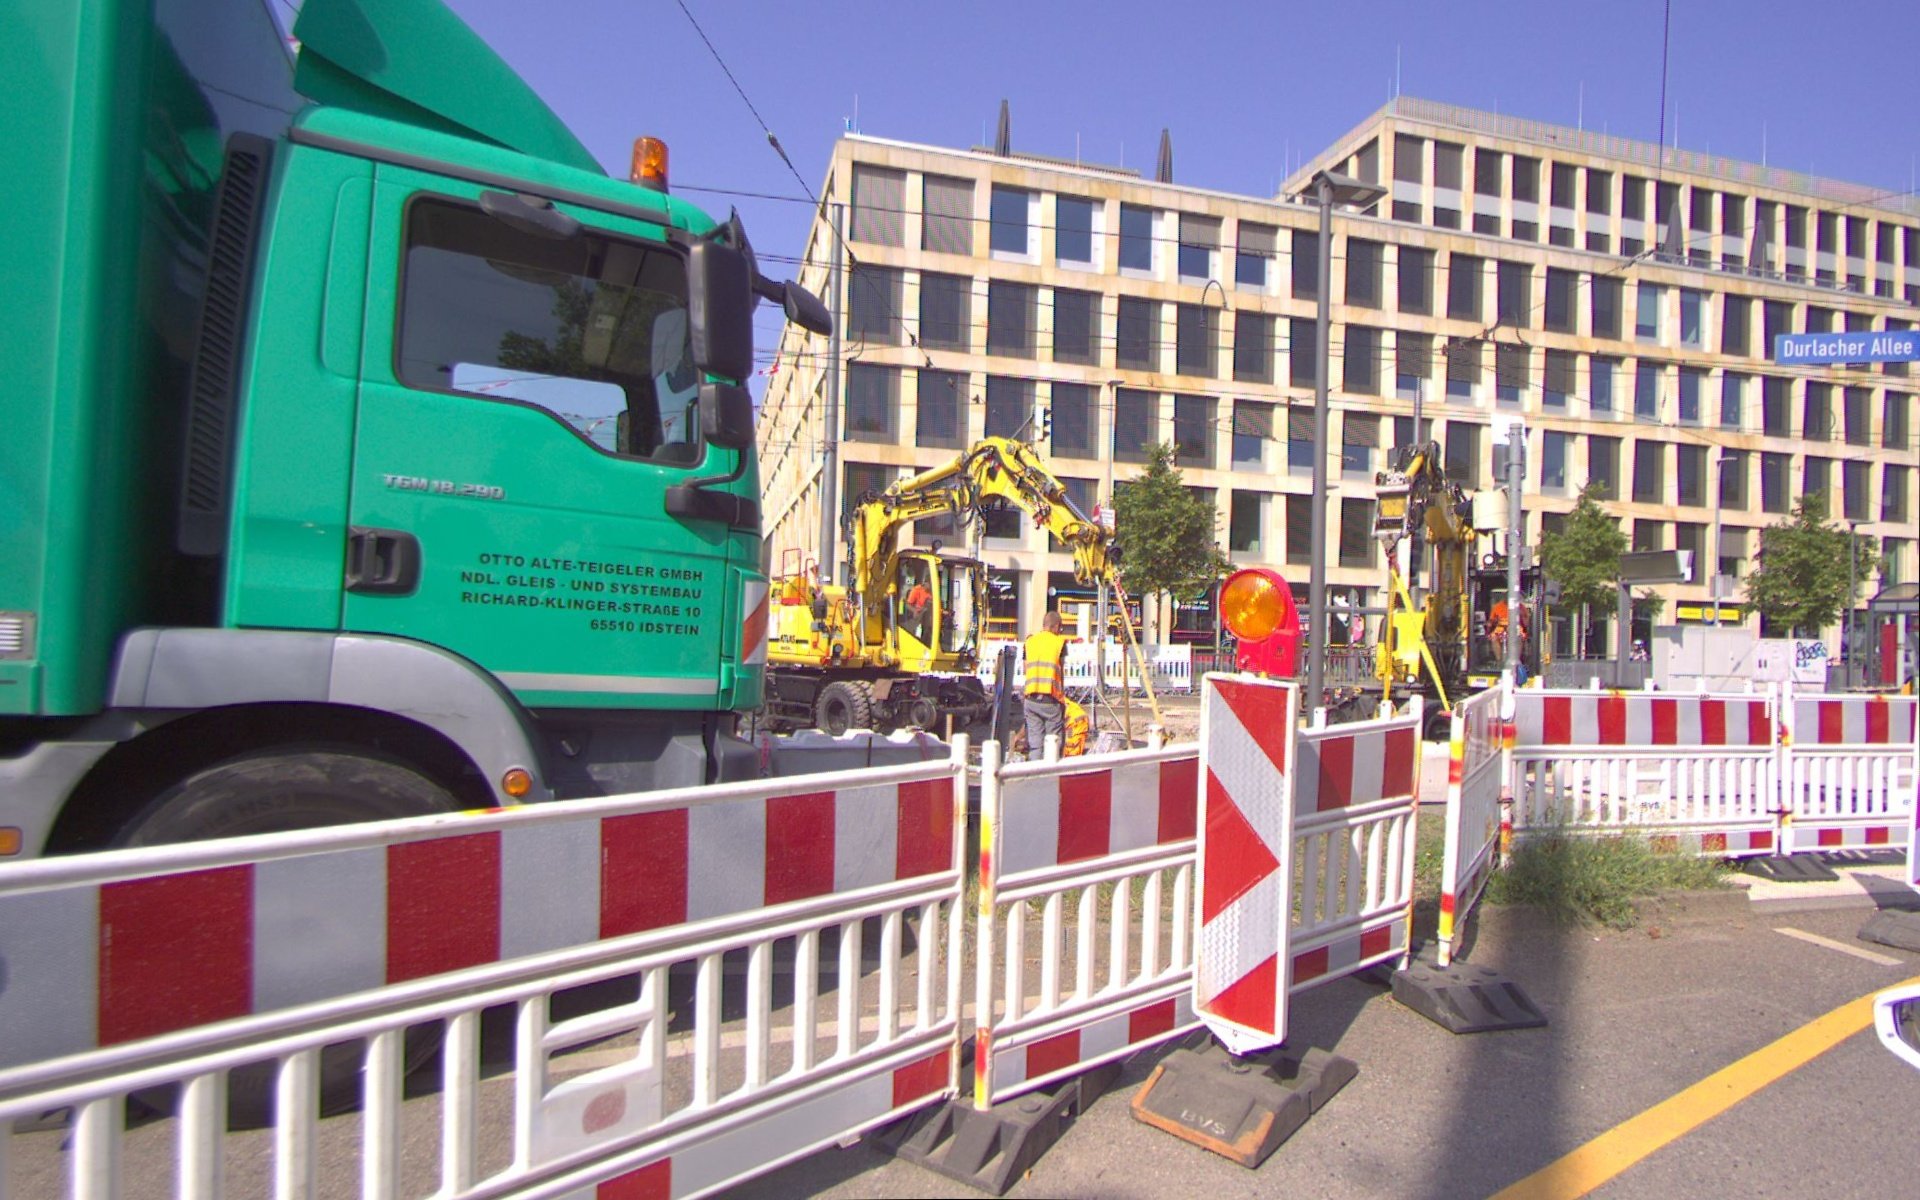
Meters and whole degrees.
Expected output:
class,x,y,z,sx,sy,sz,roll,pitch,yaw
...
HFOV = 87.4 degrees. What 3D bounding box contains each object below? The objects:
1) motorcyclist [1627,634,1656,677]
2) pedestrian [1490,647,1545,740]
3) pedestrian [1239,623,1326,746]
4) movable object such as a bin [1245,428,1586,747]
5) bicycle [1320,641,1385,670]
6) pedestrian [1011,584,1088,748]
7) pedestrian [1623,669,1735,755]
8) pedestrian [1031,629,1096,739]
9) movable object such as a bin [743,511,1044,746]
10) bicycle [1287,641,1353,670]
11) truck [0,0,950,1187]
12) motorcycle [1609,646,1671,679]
class,x,y,z,sx,sy,sz,roll,pitch,yaw
motorcyclist,19.345,1.573,28.521,0.507,1.194,0.430,3,-4,-11
pedestrian,7.342,1.210,13.242,0.577,1.170,0.702,0,-1,25
pedestrian,3.697,0.952,11.574,0.820,1.353,0.703,1,-1,6
movable object such as a bin,7.308,-0.111,16.474,4.139,4.614,2.990,1,-1,-13
bicycle,14.349,2.033,36.774,0.930,0.980,2.430,1,-2,-16
pedestrian,0.872,0.618,9.663,0.689,1.498,0.743,1,-1,7
pedestrian,8.597,1.323,12.031,0.867,0.967,0.701,1,-1,-14
pedestrian,1.177,0.933,11.413,0.688,1.193,0.703,1,-1,6
movable object such as a bin,-1.231,0.475,16.606,3.526,3.265,4.093,2,-2,-30
bicycle,13.002,1.993,36.342,1.004,0.980,2.430,1,-2,-16
truck,-4.646,-0.597,2.733,8.892,3.838,2.800,2,-2,-25
motorcycle,19.323,1.782,28.537,1.605,0.889,0.430,3,-5,-11
